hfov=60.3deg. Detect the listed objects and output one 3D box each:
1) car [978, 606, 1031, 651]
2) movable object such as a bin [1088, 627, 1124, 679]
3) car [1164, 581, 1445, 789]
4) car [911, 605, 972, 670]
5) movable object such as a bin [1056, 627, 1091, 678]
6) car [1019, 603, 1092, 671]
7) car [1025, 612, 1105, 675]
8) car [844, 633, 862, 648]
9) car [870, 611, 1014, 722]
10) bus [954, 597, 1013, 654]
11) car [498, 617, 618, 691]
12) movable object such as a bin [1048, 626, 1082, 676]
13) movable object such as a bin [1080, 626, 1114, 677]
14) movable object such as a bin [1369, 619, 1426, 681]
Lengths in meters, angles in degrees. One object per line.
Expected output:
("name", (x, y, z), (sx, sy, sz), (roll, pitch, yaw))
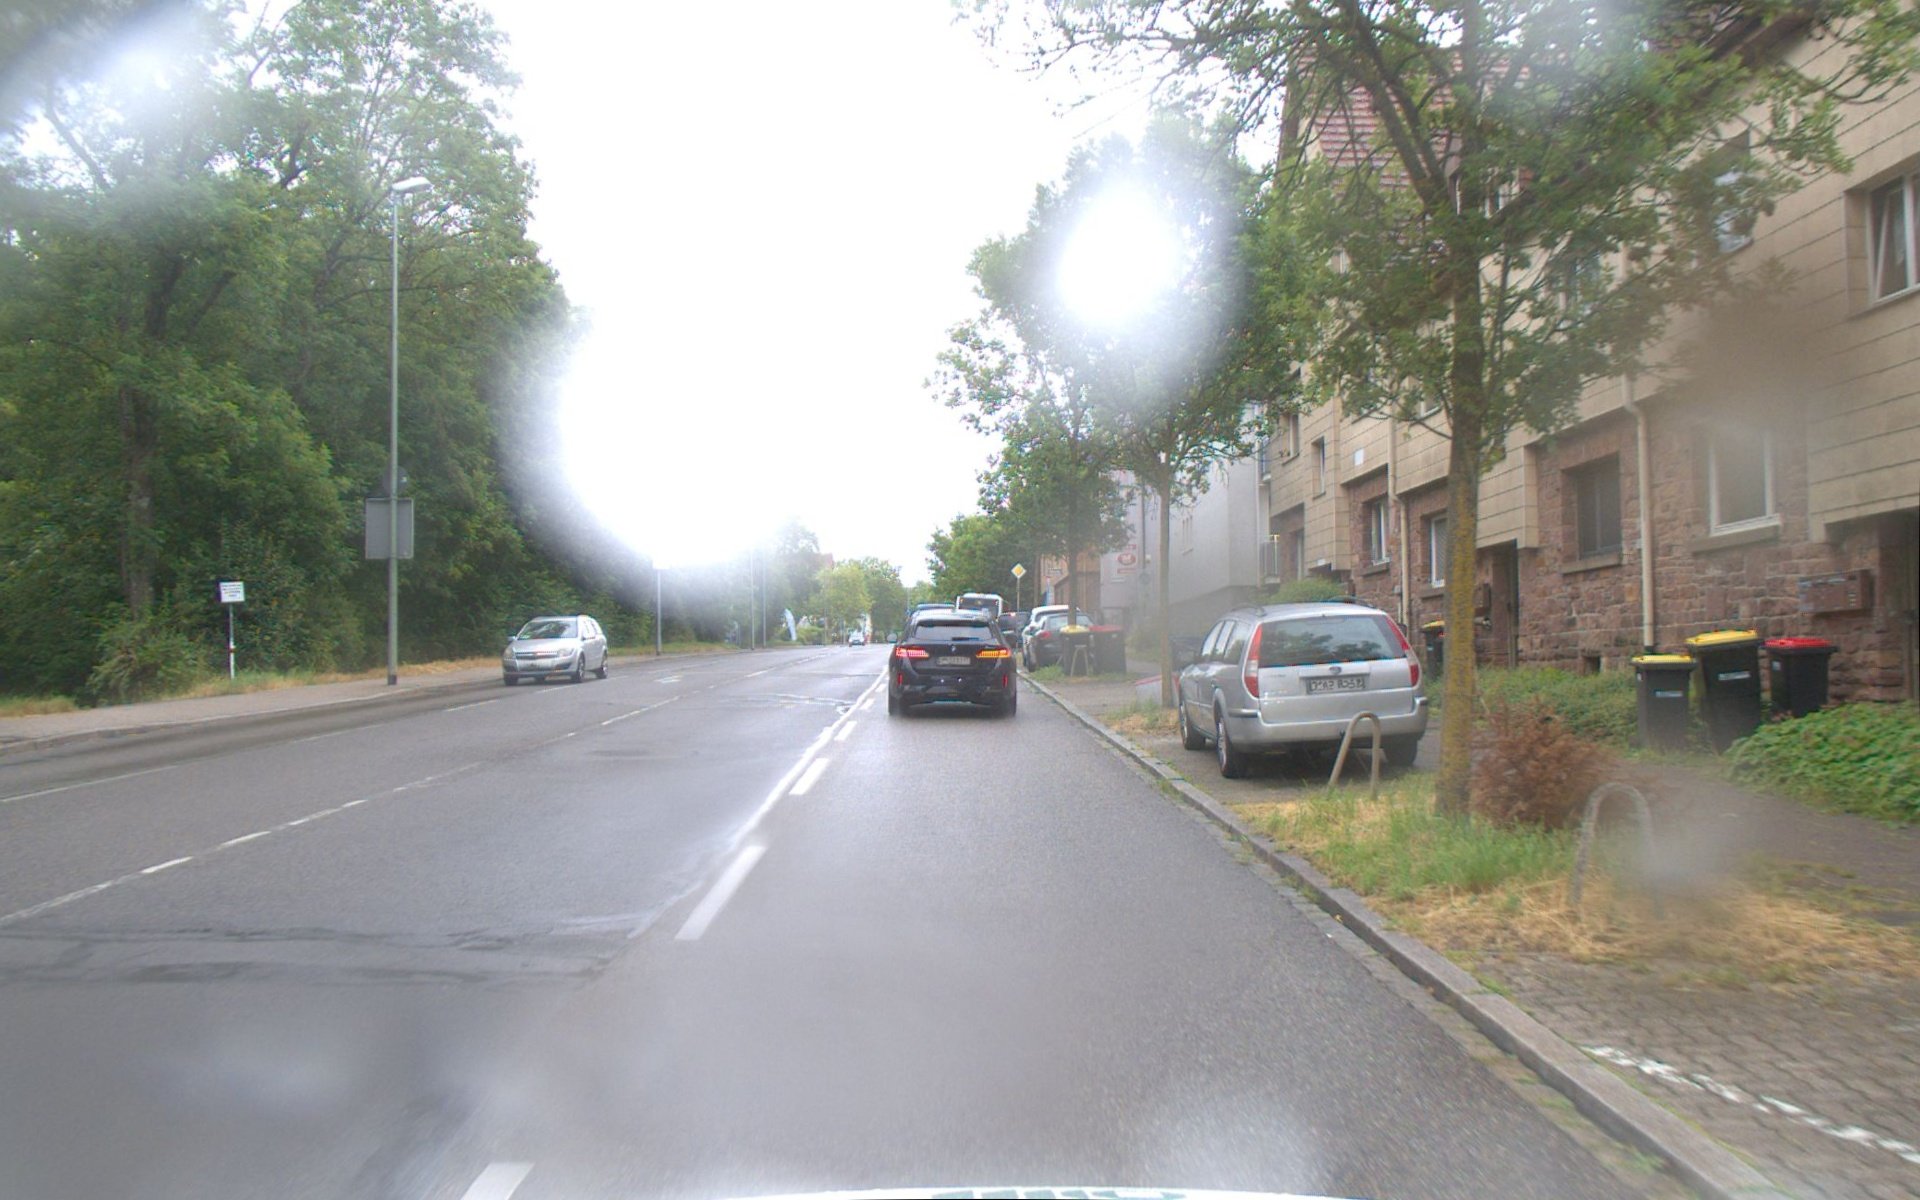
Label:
("car", (2.147, 1.384, 78.448), (1.886, 1.925, 4.764), (-4, -2, 7))
("movable object such as a bin", (3.178, 1.145, 35.950), (0.607, 1.068, 0.822), (-3, 0, -4))
("car", (3.153, 0.692, 16.088), (1.667, 1.611, 4.642), (-4, 0, 0))
("car", (-0.620, 1.222, 54.763), (1.953, 2.049, 3.999), (0, -1, -1))
("movable object such as a bin", (2.461, 1.135, 35.954), (0.607, 1.068, 0.822), (-3, 0, -4))
("car", (2.672, 1.028, 47.229), (1.787, 1.803, 4.540), (-2, 0, 0))
("car", (2.600, 1.073, 41.720), (1.608, 1.474, 3.996), (-1, -1, -2))
("car", (-11.841, 4.509, 183.339), (1.734, 1.560, 3.999), (-2, 0, -1))
("car", (-0.239, 0.942, 25.020), (1.953, 1.478, 4.000), (2, -1, 0))
("bus", (1.364, 1.343, 89.928), (2.568, 2.897, 8.293), (-2, 0, 5))
("car", (-9.061, 1.172, 37.637), (1.655, 1.508, 4.450), (-3, -1, -1))
("movable object such as a bin", (2.325, 1.131, 36.850), (0.607, 1.068, 0.822), (-3, 0, -4))
("movable object such as a bin", (3.049, 1.141, 36.871), (0.607, 1.068, 0.822), (-3, 0, -4))
("movable object such as a bin", (7.238, 0.821, 27.390), (0.686, 0.982, 0.941), (1, 0, -1))
